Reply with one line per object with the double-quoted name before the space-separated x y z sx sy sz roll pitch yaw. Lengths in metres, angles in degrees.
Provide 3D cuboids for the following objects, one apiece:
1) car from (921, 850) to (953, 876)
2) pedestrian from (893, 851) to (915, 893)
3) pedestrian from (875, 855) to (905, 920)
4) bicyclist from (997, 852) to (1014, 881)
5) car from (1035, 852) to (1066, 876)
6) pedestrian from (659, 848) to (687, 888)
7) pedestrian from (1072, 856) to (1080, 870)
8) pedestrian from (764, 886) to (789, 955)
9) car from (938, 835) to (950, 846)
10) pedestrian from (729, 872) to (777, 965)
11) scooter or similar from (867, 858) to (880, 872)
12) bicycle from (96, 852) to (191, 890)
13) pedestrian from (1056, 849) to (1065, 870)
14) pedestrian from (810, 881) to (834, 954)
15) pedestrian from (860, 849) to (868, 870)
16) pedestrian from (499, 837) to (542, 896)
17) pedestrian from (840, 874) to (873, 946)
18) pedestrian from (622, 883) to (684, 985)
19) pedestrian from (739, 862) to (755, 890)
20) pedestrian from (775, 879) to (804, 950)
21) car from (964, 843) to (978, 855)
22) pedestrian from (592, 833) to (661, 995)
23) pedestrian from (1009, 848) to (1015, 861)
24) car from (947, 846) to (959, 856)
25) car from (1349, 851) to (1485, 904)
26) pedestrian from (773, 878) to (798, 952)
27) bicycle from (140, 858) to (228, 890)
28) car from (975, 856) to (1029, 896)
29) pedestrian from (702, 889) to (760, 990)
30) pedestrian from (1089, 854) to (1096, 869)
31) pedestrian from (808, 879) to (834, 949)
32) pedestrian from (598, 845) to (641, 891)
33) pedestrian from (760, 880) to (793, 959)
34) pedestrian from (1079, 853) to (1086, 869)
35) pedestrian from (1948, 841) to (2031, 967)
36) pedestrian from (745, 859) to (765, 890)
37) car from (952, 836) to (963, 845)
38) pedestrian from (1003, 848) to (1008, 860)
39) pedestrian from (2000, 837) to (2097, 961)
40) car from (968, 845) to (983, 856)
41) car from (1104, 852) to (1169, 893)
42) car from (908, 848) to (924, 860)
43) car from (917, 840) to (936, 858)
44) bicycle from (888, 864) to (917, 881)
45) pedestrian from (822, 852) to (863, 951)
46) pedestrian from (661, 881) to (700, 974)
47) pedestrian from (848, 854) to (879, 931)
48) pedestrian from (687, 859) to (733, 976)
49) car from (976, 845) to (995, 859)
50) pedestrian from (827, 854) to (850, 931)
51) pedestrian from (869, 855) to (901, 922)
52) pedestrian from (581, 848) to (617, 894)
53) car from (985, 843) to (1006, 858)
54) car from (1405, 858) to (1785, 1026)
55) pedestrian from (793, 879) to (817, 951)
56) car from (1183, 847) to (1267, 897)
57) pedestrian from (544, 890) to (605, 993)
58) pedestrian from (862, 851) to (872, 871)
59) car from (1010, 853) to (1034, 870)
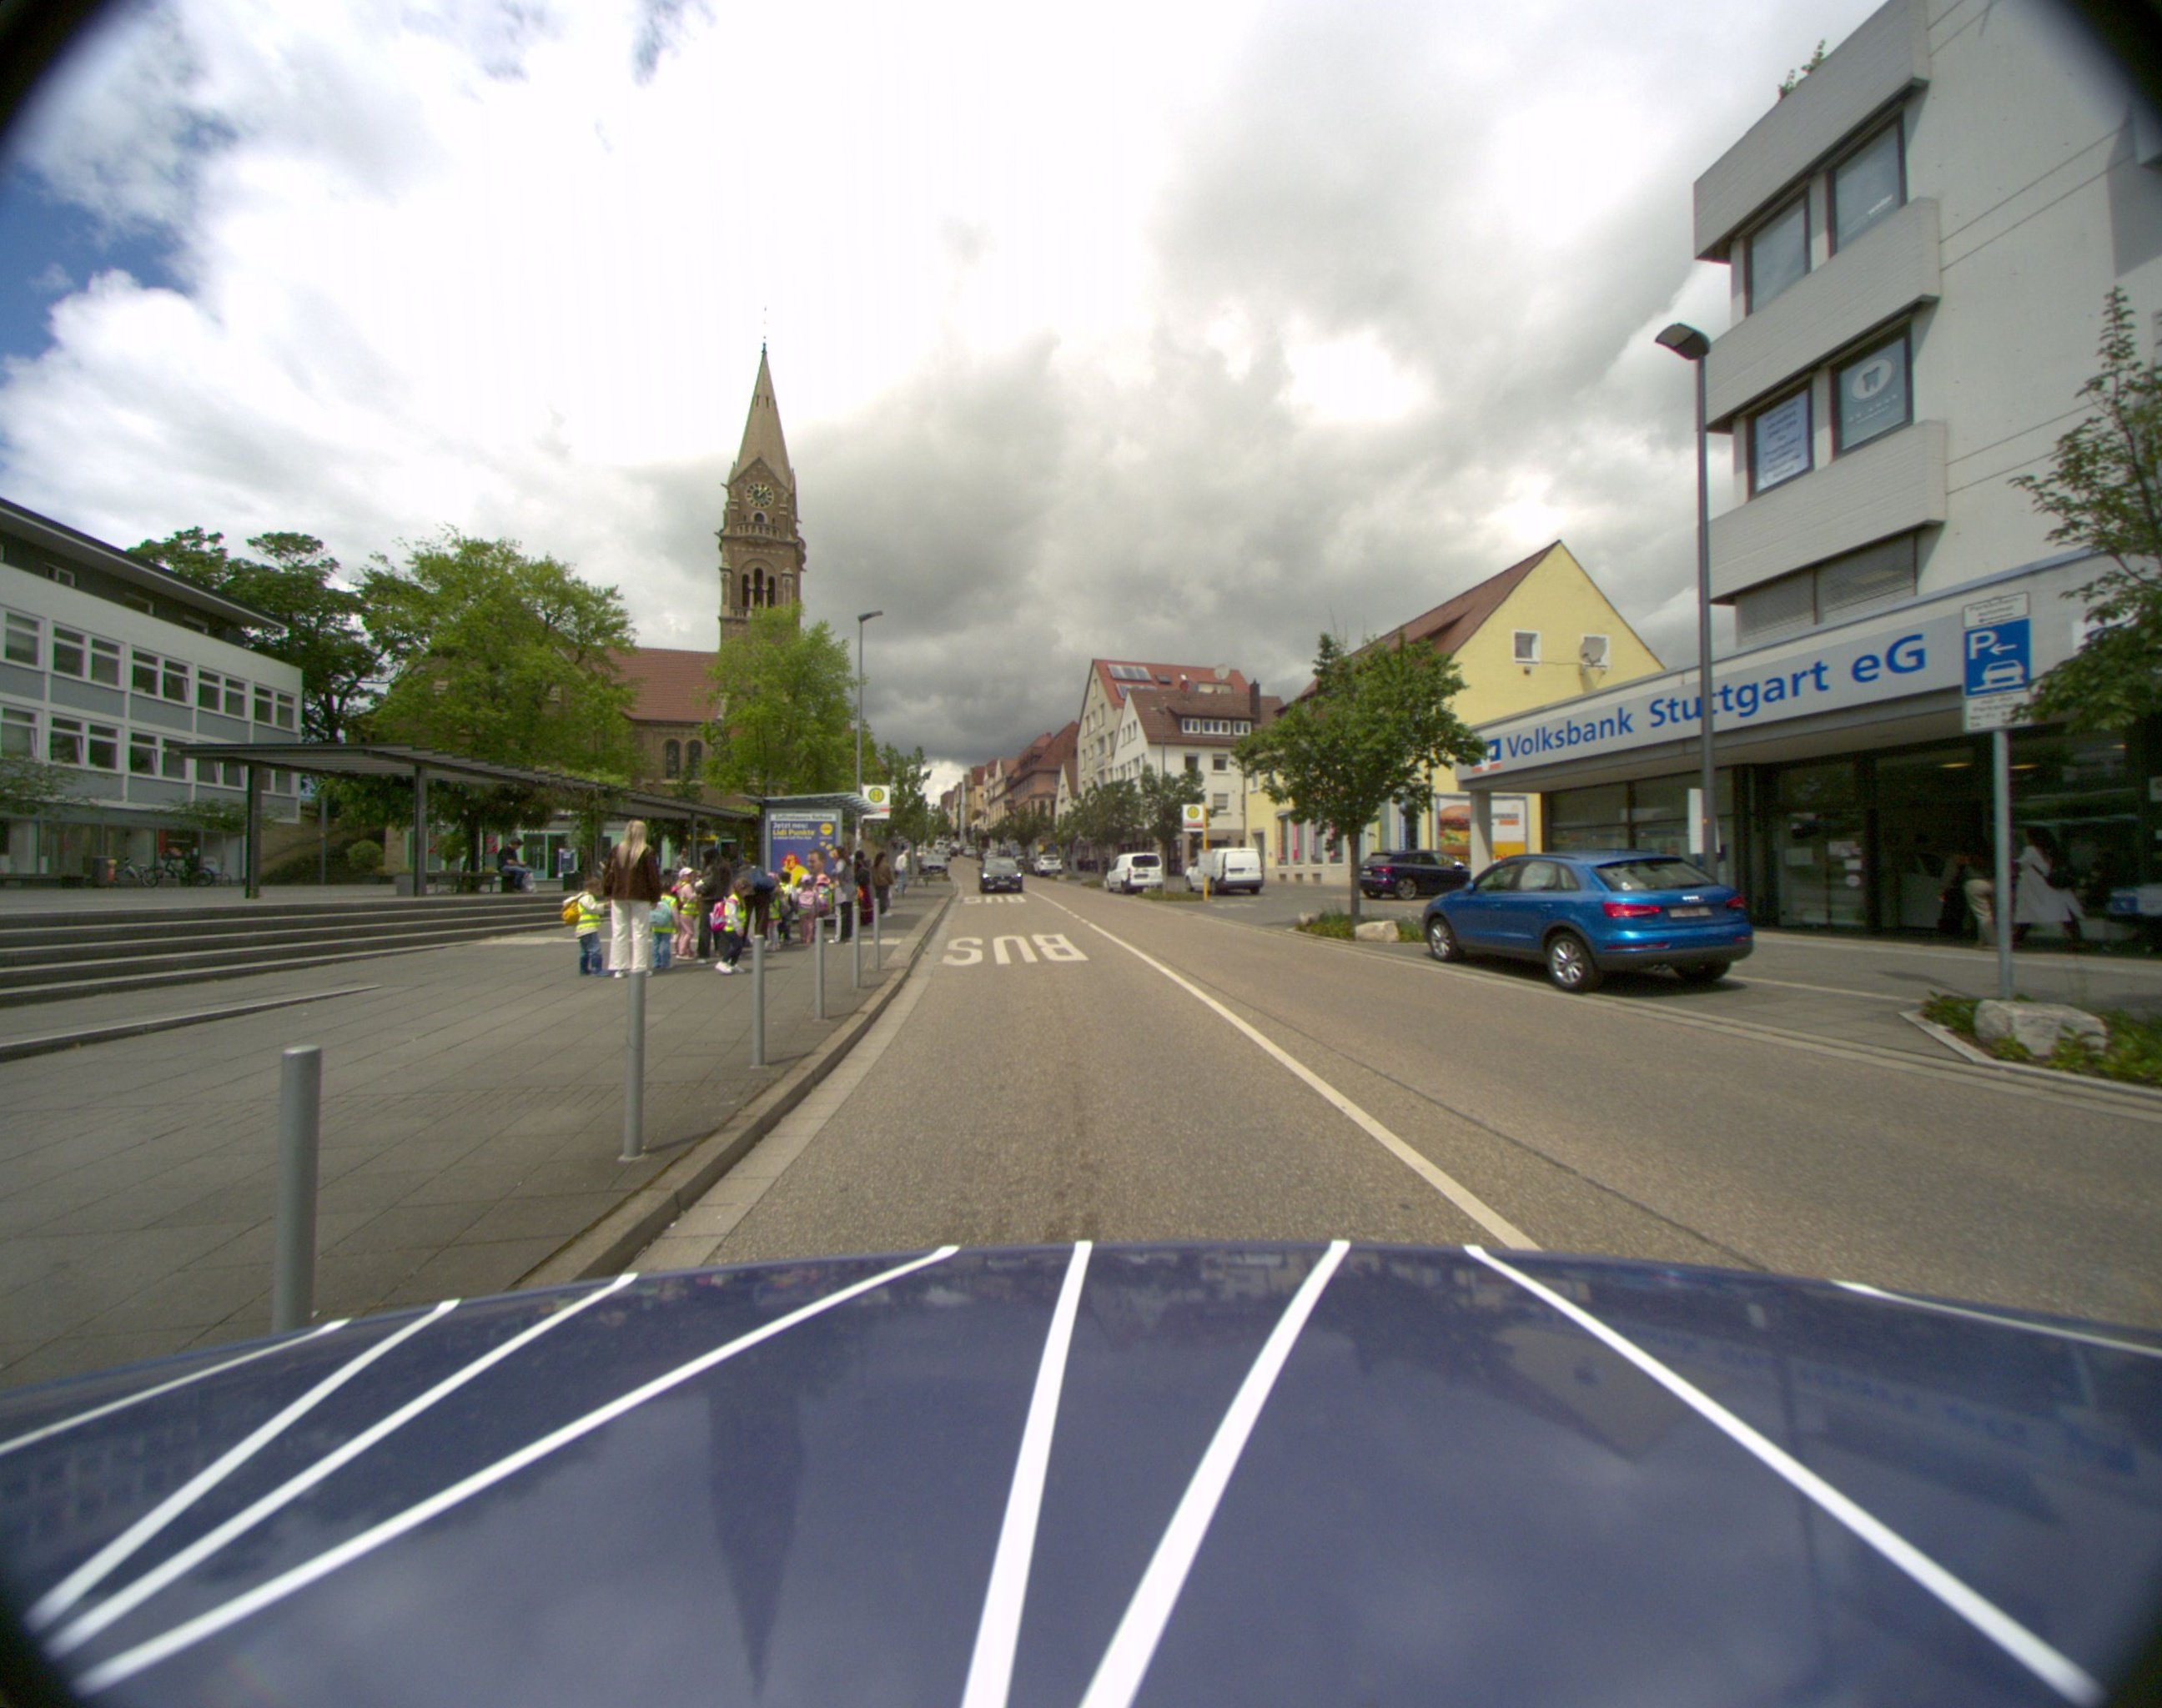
"car" -10.360 0.628 54.528 1.936 1.714 4.567 1 0 -14
"pedestrian" -7.095 0.721 30.537 0.686 1.672 0.714 0 1 2
"pedestrian" -4.633 0.809 18.457 0.513 1.540 0.488 1 0 18
"bicyclist" -4.413 0.727 44.368 0.780 1.685 0.508 3 0 -35
"car" -2.350 0.689 56.978 1.671 1.637 4.129 -2 1 -11
"pedestrian" -13.271 0.453 24.717 0.625 1.300 0.546 1 0 -4
"pedestrian" -0.409 0.771 66.061 0.552 1.260 0.598 -1 2 -14
"pedestrian" -4.760 1.034 11.882 0.252 1.062 0.251 2 0 8
"car" -23.246 -2.296 128.698 1.753 1.792 4.206 2 1 -13
"pedestrian" -4.823 0.928 11.166 0.434 1.296 0.597 2 1 -42
"scooter or similar" -16.323 0.865 59.779 0.814 1.066 0.560 1 2 -2
"bicycle" -33.544 0.625 27.239 2.032 1.299 0.686 2 -1 -41
"pedestrian" -1.748 0.491 64.489 0.662 1.751 0.776 -1 3 -15
"pedestrian" -4.199 1.017 12.307 0.249 1.145 0.275 2 0 -43
"pedestrian" -16.996 0.455 59.498 0.474 1.636 0.506 1 2 -2
"pedestrian" -12.946 0.285 17.560 0.569 1.316 0.545 -1 0 1
"pedestrian" -3.903 0.965 13.235 0.403 1.219 0.388 1 0 14
"pedestrian" -5.273 0.971 9.372 0.390 1.191 0.512 2 0 17
"pedestrian" -13.102 0.874 29.820 0.477 1.082 0.368 0 -2 -4
"pedestrian" -4.867 1.004 12.697 0.321 1.145 0.319 2 0 42
"car" -16.805 -0.811 116.245 1.734 1.670 3.985 0 2 -14
"pedestrian" -5.250 0.681 8.799 0.541 1.812 0.435 2 0 -14
"pedestrian" -8.533 0.042 94.371 0.616 1.573 0.641 -1 3 -16
"car" -18.423 -0.436 109.284 1.612 1.380 3.624 1 1 -12
"car" 10.711 0.705 24.314 3.639 1.549 1.667 -1 1 -10
"pedestrian" -4.750 0.967 12.227 0.250 1.167 0.253 2 0 40
"bicycle" -33.795 0.750 28.663 2.032 1.135 0.686 3 -2 -41
"car" -3.648 0.925 34.366 1.897 1.516 3.729 -2 2 -14
"pedestrian" -4.266 1.030 9.279 0.390 1.165 0.477 2 0 23
"pedestrian" 0.964 0.632 64.677 0.428 1.242 0.566 -1 1 -13
"pedestrian" -4.390 1.000 12.815 0.294 1.145 0.297 2 0 -40
"pedestrian" -12.980 0.381 21.373 0.769 1.262 0.677 -1 0 22
"pedestrian" -4.625 0.986 11.545 0.336 1.160 0.350 2 2 -40
"pedestrian" 0.137 0.592 64.349 0.422 1.292 0.453 -1 1 -13
"pedestrian" 11.730 0.620 9.817 0.588 1.557 0.643 1 0 -37
"pedestrian" -13.029 0.823 30.366 0.570 1.254 0.541 0 -2 -4
"car" -21.639 -2.312 133.298 1.692 1.516 3.523 0 2 -14
"pedestrian" -9.335 -0.039 94.321 0.497 1.469 0.527 -1 3 -16
"pedestrian" 12.555 0.576 9.871 0.511 1.557 0.586 1 0 -8
"car" -15.202 -0.522 109.156 1.734 1.423 3.497 0 2 -14
"car" 2.334 0.748 33.199 1.662 1.662 4.346 -2 1 -12
"car" -22.759 0.021 104.752 1.818 1.440 3.939 3 1 -15
"car" -17.800 -0.593 87.698 1.891 1.837 5.024 1 2 -9
"bicycle" -11.065 1.152 47.103 1.734 0.990 0.345 1 0 -17
"pedestrian" -3.974 0.782 12.651 0.387 1.610 0.470 2 0 40
"pedestrian" -5.414 0.986 10.284 0.324 1.231 0.334 2 0 -5
"pedestrian" -4.507 0.784 15.715 0.502 1.557 0.496 1 0 -30
"pedestrian" -4.912 0.826 10.067 0.390 1.508 0.390 2 0 -2
"car" -12.091 -0.278 96.001 1.670 1.518 3.956 -2 2 -16
"pedestrian" -4.930 0.772 15.445 0.395 1.557 0.351 1 0 -27
"pedestrian" -4.616 0.808 17.904 0.542 1.540 0.487 1 0 36
"pedestrian" -13.017 0.458 20.526 0.569 1.220 0.566 -1 0 1
"car" -9.982 -0.408 88.954 1.732 1.565 4.447 -1 2 -16
"car" 6.243 0.909 9.976 1.699 1.590 4.329 -3 0 -6
"pedestrian" -4.525 1.000 12.470 0.265 1.154 0.270 2 0 -38
"car" 5.682 0.654 30.637 1.762 1.803 4.472 -2 1 -11
"pedestrian" -5.833 1.002 8.769 0.440 1.141 0.383 1 0 -6
"pedestrian" -16.561 0.531 58.851 0.590 1.515 0.584 1 1 -1
"car" -5.626 0.686 71.994 1.663 1.384 4.437 -1 2 -13
